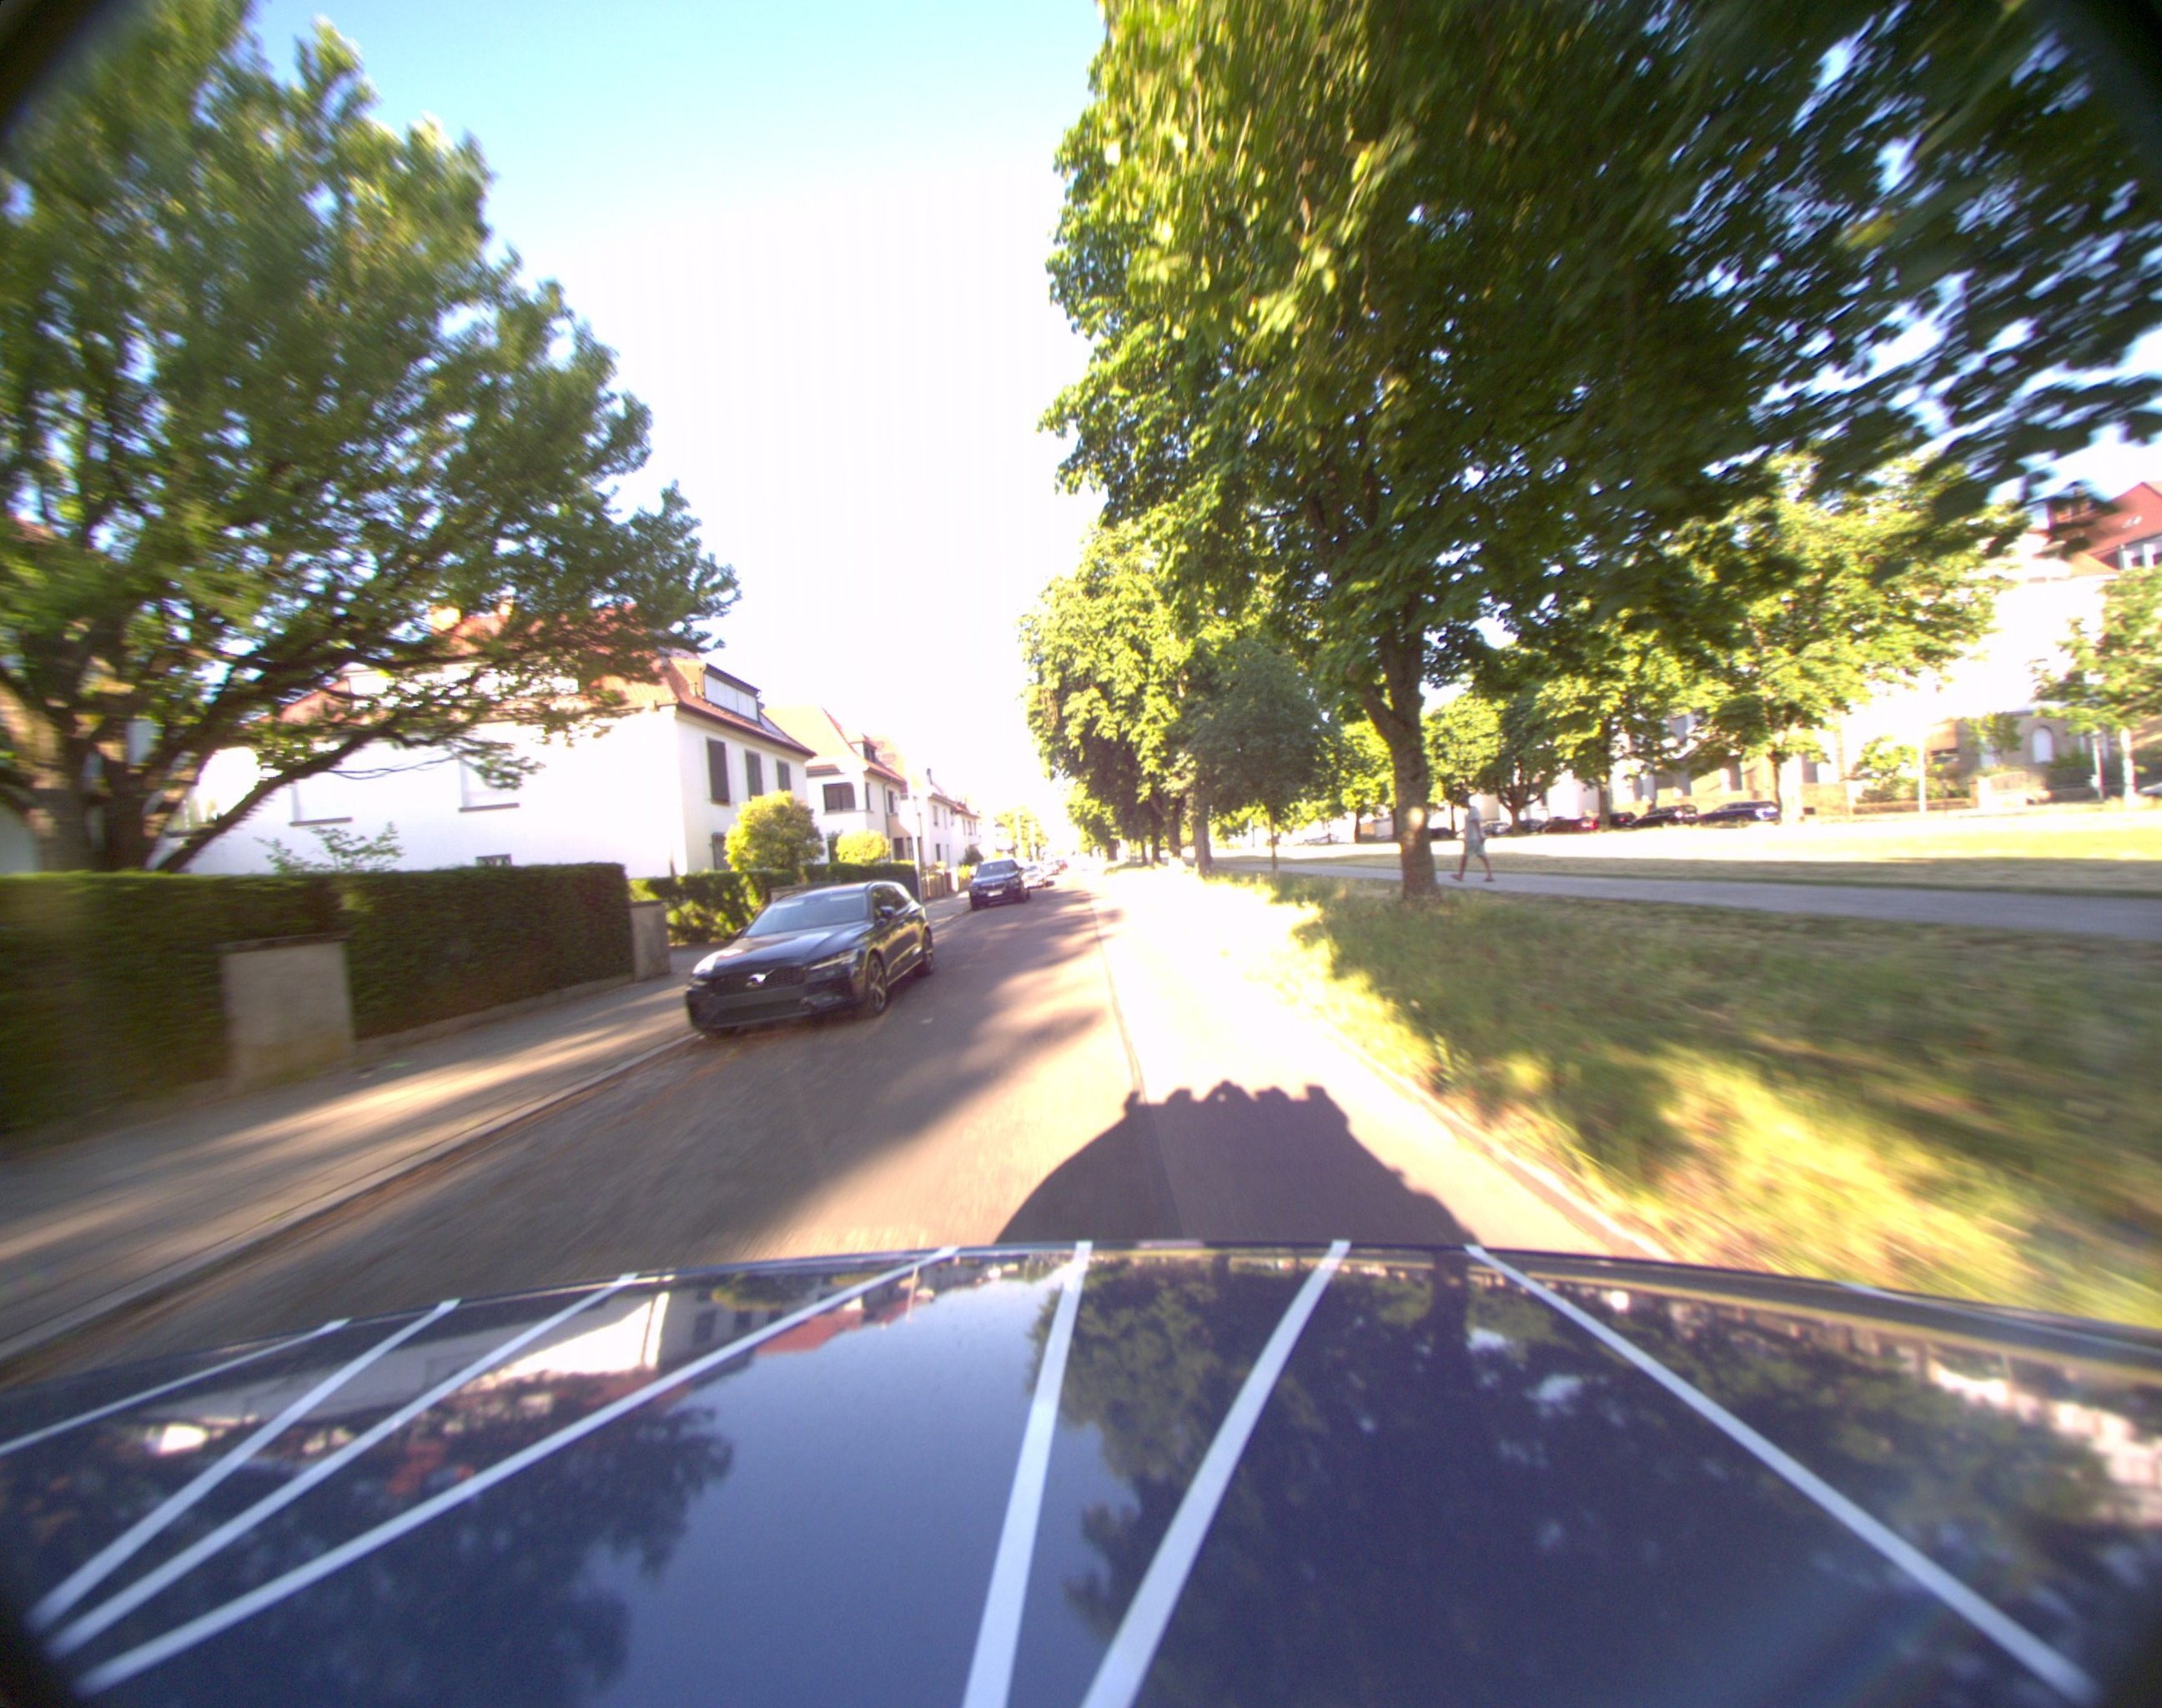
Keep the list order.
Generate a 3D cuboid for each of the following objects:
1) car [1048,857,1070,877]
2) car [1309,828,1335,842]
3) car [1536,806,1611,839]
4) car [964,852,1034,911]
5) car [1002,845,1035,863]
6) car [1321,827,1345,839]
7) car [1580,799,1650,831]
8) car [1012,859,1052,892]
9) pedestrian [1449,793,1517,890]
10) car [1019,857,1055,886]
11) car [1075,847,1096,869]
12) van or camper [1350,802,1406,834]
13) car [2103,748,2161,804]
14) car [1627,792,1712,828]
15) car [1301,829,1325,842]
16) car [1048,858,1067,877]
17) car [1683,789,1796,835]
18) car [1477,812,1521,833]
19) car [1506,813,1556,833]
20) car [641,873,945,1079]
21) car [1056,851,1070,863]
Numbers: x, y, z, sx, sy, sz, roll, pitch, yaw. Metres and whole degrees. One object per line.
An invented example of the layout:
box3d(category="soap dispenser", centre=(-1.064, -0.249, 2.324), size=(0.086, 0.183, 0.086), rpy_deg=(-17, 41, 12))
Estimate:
box3d(category="car", centre=(-1.990, 1.147, 69.144), size=(1.784, 1.491, 4.396), rpy_deg=(-8, 1, -1))
box3d(category="car", centre=(34.437, -2.705, 108.633), size=(1.998, 1.680, 4.875), rpy_deg=(-5, 1, 1))
box3d(category="car", centre=(34.235, -2.114, 53.005), size=(1.998, 2.002, 4.875), rpy_deg=(-5, 1, 2))
box3d(category="car", centre=(-3.045, 0.966, 29.186), size=(1.999, 1.727, 4.862), rpy_deg=(-9, 1, -1))
box3d(category="car", centre=(-8.109, -0.008, 98.310), size=(3.998, 1.917, 1.999), rpy_deg=(-6, 1, -3))
box3d(category="car", centre=(40.936, -3.345, 123.611), size=(1.999, 1.680, 4.874), rpy_deg=(-5, 1, -2))
box3d(category="car", centre=(39.997, -2.892, 57.050), size=(1.999, 2.002, 4.428), rpy_deg=(-5, 1, -1))
box3d(category="car", centre=(-2.682, 1.152, 42.696), size=(1.784, 1.454, 4.593), rpy_deg=(-8, 1, 0))
box3d(category="pedestrian", centre=(7.718, -0.231, 14.625), size=(0.726, 1.748, 0.993), rpy_deg=(-5, 1, 7))
box3d(category="car", centre=(-2.813, 1.092, 49.626), size=(1.999, 1.455, 4.548), rpy_deg=(-9, 1, -2))
box3d(category="car", centre=(0.443, 0.401, 81.698), size=(1.998, 2.002, 3.999), rpy_deg=(-6, 1, 1))
box3d(category="van or camper", centre=(34.513, -4.130, 88.670), size=(3.262, 3.093, 7.895), rpy_deg=(-5, 1, 1))
box3d(category="car", centre=(33.917, -2.486, 22.184), size=(1.824, 1.630, 4.649), rpy_deg=(-6, 1, 0))
box3d(category="car", centre=(39.757, -2.929, 51.517), size=(1.998, 2.002, 4.875), rpy_deg=(-5, 1, 2))
box3d(category="car", centre=(34.845, -2.810, 114.078), size=(1.998, 1.680, 4.875), rpy_deg=(-5, 1, 1))
box3d(category="car", centre=(-2.629, 1.506, 86.754), size=(1.863, 1.710, 4.466), rpy_deg=(-10, 1, -1))
box3d(category="car", centre=(39.699, -2.461, 45.982), size=(2.000, 1.738, 5.009), rpy_deg=(11, -5, -5))
box3d(category="car", centre=(40.047, -2.981, 72.937), size=(1.998, 1.725, 4.000), rpy_deg=(-5, 1, 2))
box3d(category="car", centre=(40.383, -2.756, 68.262), size=(1.998, 1.421, 4.169), rpy_deg=(-5, 0, 2))
box3d(category="car", centre=(-3.041, 1.177, 9.278), size=(1.798, 1.483, 4.673), rpy_deg=(-6, 1, 0))
box3d(category="car", centre=(-2.656, 0.392, 113.059), size=(1.824, 1.486, 4.223), rpy_deg=(-5, 1, 0))
